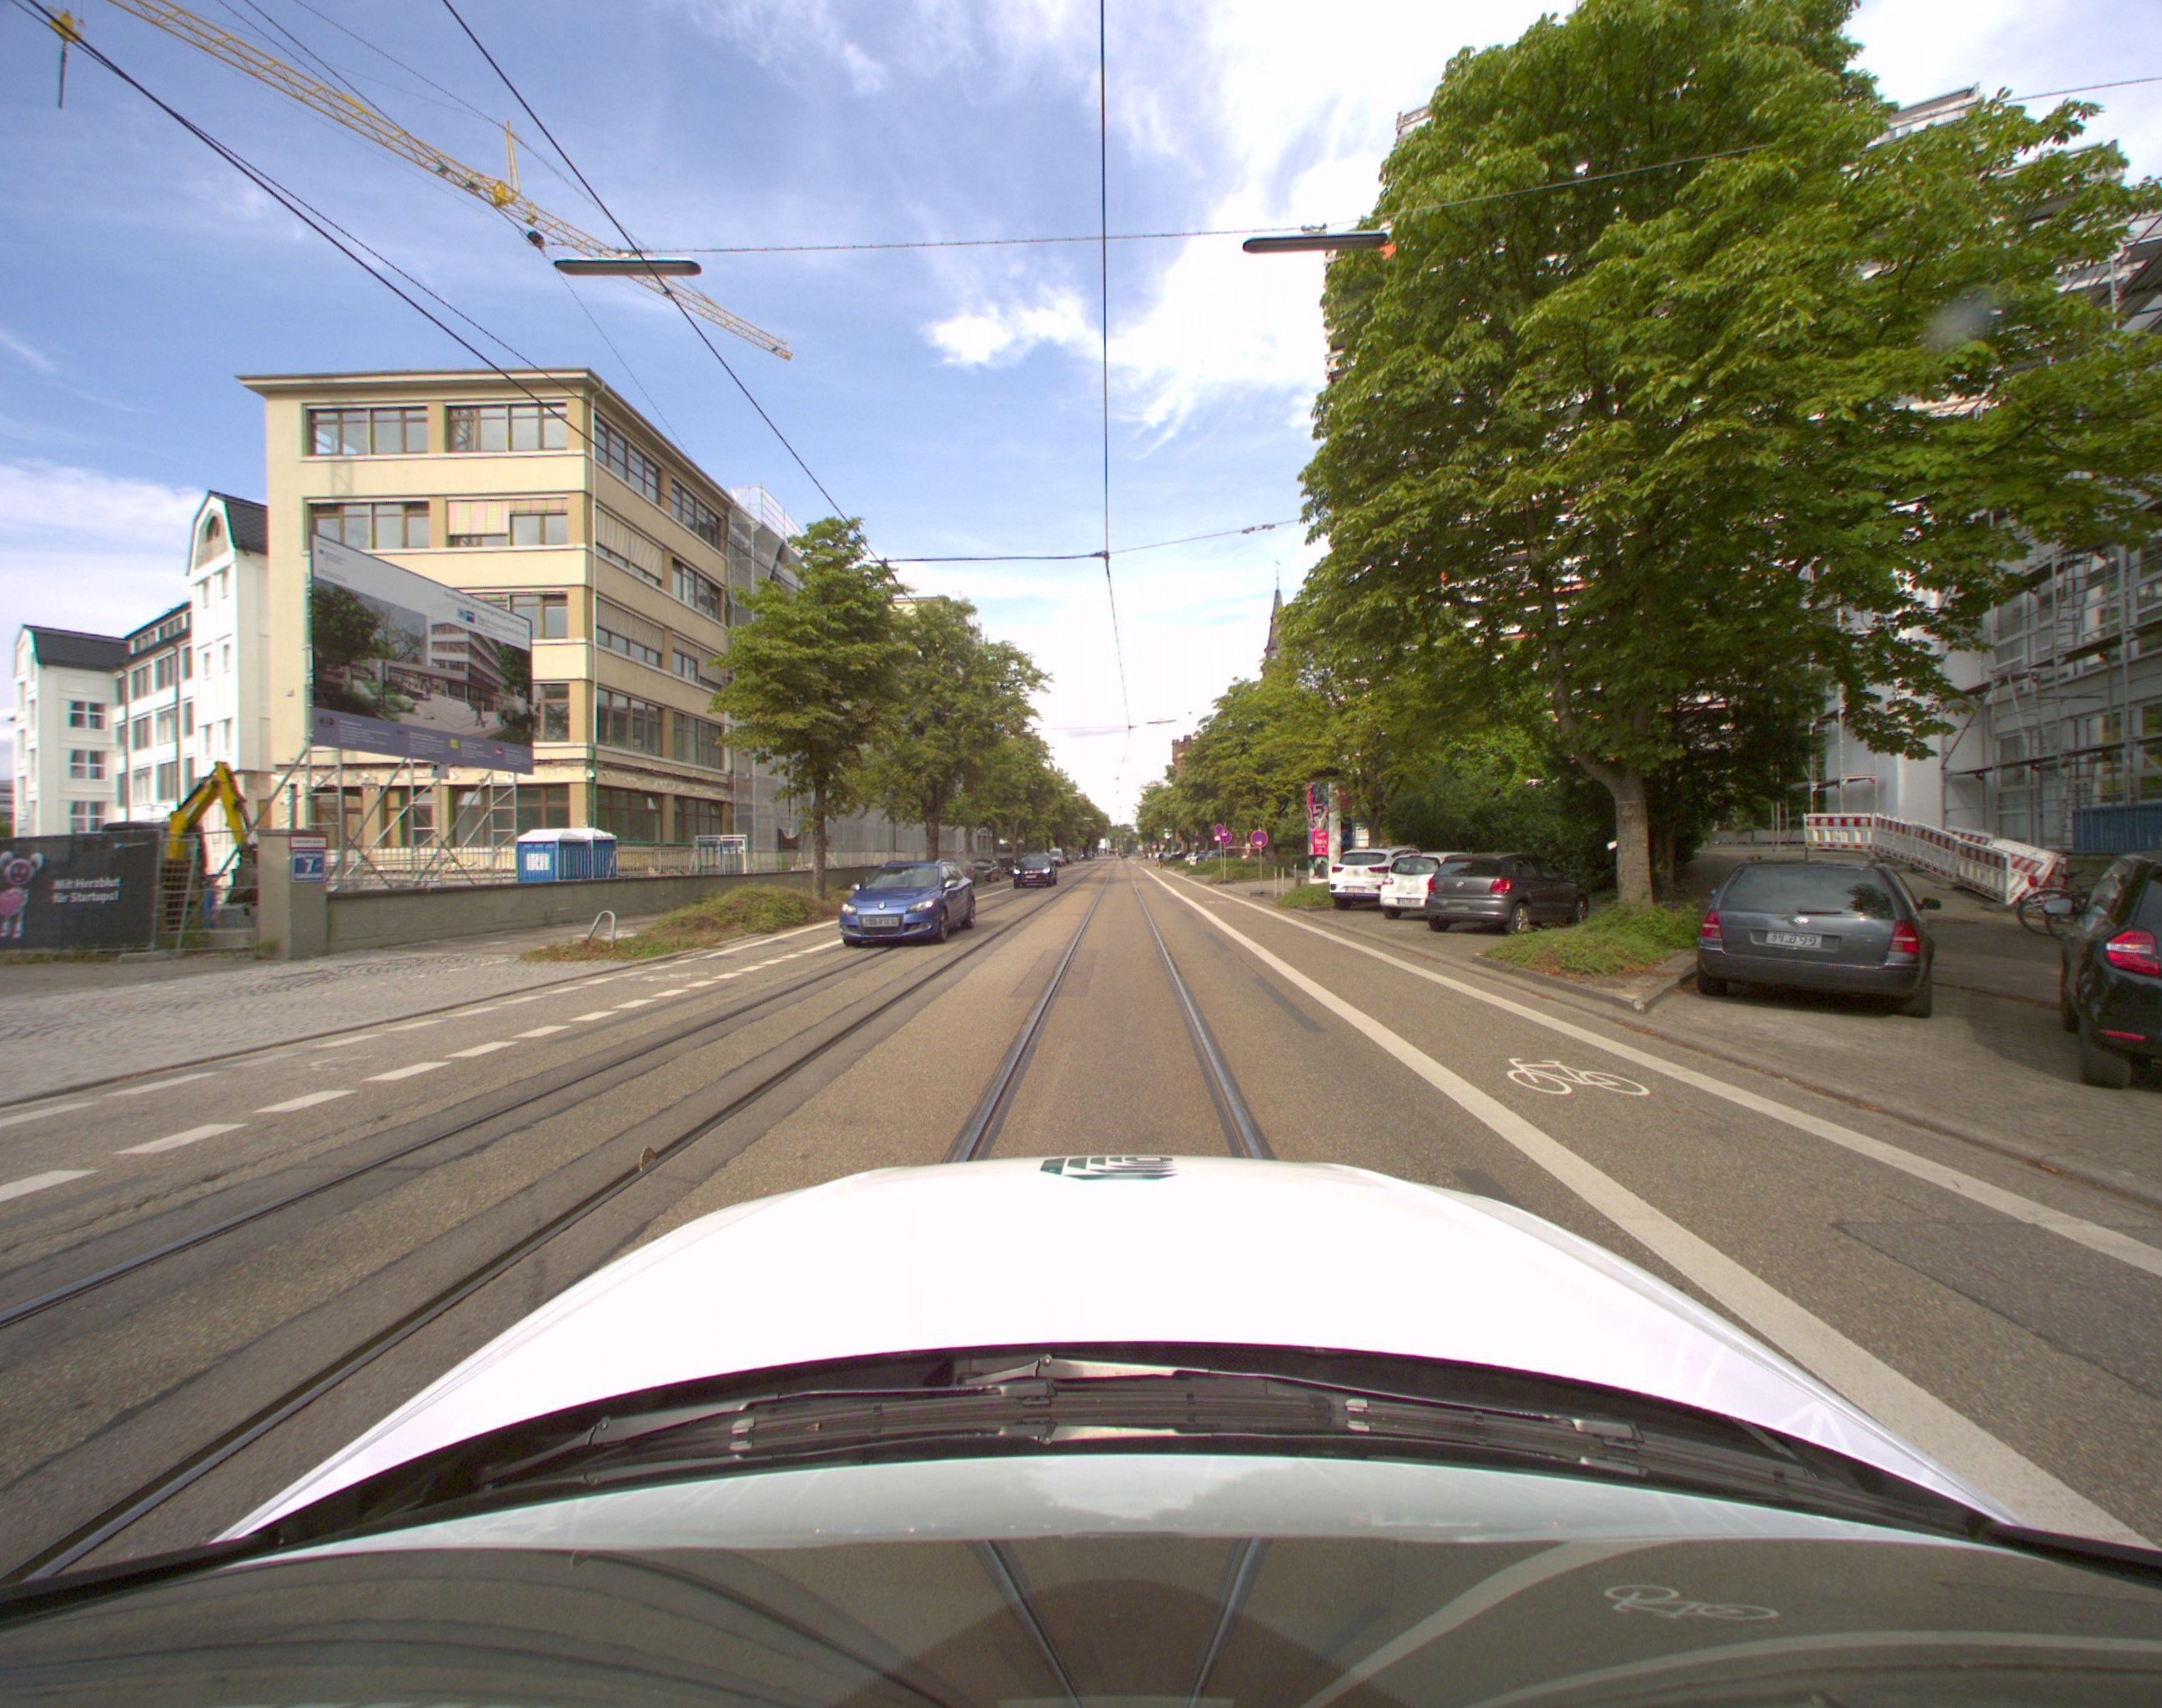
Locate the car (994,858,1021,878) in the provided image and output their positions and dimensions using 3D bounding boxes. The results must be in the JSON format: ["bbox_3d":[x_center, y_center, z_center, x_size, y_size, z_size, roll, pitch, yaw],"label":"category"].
[{"bbox_3d":[-5.563,1.044,61.855,1.585,1.402,3.963,0,0,1],"label":"car"}]

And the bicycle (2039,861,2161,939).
[{"bbox_3d":[14.774,0.624,11.211,1.952,1.043,0.598,-1,0,30],"label":"bicycle"}]

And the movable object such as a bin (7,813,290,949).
[{"bbox_3d":[-18.307,0.514,16.136,3.030,2.443,2.506,-1,-1,12],"label":"movable object such as a bin"}]

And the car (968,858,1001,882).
[{"bbox_3d":[-6.058,0.995,51.548,1.585,1.402,3.963,0,0,1],"label":"car"}]

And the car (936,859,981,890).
[{"bbox_3d":[-6.309,1.035,42.346,1.629,1.496,3.964,0,0,2],"label":"car"}]

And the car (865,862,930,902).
[{"bbox_3d":[-7.068,1.045,31.698,1.585,1.402,3.963,0,0,1],"label":"car"}]

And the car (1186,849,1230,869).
[{"bbox_3d":[10.552,0.434,67.381,3.667,1.602,1.662,0,-1,-43],"label":"car"}]

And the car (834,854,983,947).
[{"bbox_3d":[-3.152,0.774,15.781,1.725,1.496,4.381,-1,0,3],"label":"car"}]

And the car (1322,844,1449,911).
[{"bbox_3d":[8.115,0.574,21.564,3.667,1.602,1.662,0,-1,-43],"label":"car"}]

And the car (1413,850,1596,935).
[{"bbox_3d":[8.065,0.648,15.415,3.663,1.419,1.663,0,-1,-37],"label":"car"}]

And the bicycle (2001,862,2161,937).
[{"bbox_3d":[15.143,0.651,12.044,1.952,1.043,0.598,-1,0,39],"label":"bicycle"}]

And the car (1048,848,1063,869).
[{"bbox_3d":[-3.310,0.552,105.899,1.715,2.704,5.470,0,0,1],"label":"car"}]

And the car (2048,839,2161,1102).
[{"bbox_3d":[7.891,0.667,5.564,3.435,1.537,1.577,-1,0,-41],"label":"car"}]

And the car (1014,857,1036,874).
[{"bbox_3d":[-4.919,0.983,72.145,1.585,1.402,3.963,0,0,1],"label":"car"}]

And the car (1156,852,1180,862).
[{"bbox_3d":[15.384,0.498,143.680,3.978,1.693,1.998,-1,0,-3],"label":"car"}]

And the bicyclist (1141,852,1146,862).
[{"bbox_3d":[9.364,0.400,122.148,0.656,1.496,0.930,-1,0,3],"label":"bicyclist"}]

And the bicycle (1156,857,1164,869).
[{"bbox_3d":[7.426,0.857,76.271,0.590,1.043,1.978,-1,0,1],"label":"bicycle"}]

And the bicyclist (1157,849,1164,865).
[{"bbox_3d":[7.424,0.249,76.275,0.591,1.459,0.875,-1,0,0],"label":"bicyclist"}]

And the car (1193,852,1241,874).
[{"bbox_3d":[10.135,0.639,60.663,3.667,1.602,1.662,0,-1,-43],"label":"car"}]

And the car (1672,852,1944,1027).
[{"bbox_3d":[7.898,0.705,8.752,4.194,1.415,1.794,0,-1,-44],"label":"car"}]

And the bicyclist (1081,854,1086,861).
[{"bbox_3d":[0.499,0.659,170.018,0.841,1.504,0.771,-1,0,10],"label":"bicyclist"}]

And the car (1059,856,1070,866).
[{"bbox_3d":[-2.387,1.052,118.367,1.585,1.402,3.963,0,0,1],"label":"car"}]

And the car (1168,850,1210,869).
[{"bbox_3d":[9.250,0.491,69.566,3.667,1.602,1.662,0,-1,-43],"label":"car"}]

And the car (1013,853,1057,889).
[{"bbox_3d":[-2.192,0.803,40.076,1.725,1.628,4.380,-2,0,2],"label":"car"}]

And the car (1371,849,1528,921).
[{"bbox_3d":[8.346,0.633,18.338,3.663,1.474,1.663,0,-1,-37],"label":"car"}]

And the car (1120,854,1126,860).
[{"bbox_3d":[13.050,1.015,252.681,1.788,1.824,4.680,0,0,2],"label":"car"}]
